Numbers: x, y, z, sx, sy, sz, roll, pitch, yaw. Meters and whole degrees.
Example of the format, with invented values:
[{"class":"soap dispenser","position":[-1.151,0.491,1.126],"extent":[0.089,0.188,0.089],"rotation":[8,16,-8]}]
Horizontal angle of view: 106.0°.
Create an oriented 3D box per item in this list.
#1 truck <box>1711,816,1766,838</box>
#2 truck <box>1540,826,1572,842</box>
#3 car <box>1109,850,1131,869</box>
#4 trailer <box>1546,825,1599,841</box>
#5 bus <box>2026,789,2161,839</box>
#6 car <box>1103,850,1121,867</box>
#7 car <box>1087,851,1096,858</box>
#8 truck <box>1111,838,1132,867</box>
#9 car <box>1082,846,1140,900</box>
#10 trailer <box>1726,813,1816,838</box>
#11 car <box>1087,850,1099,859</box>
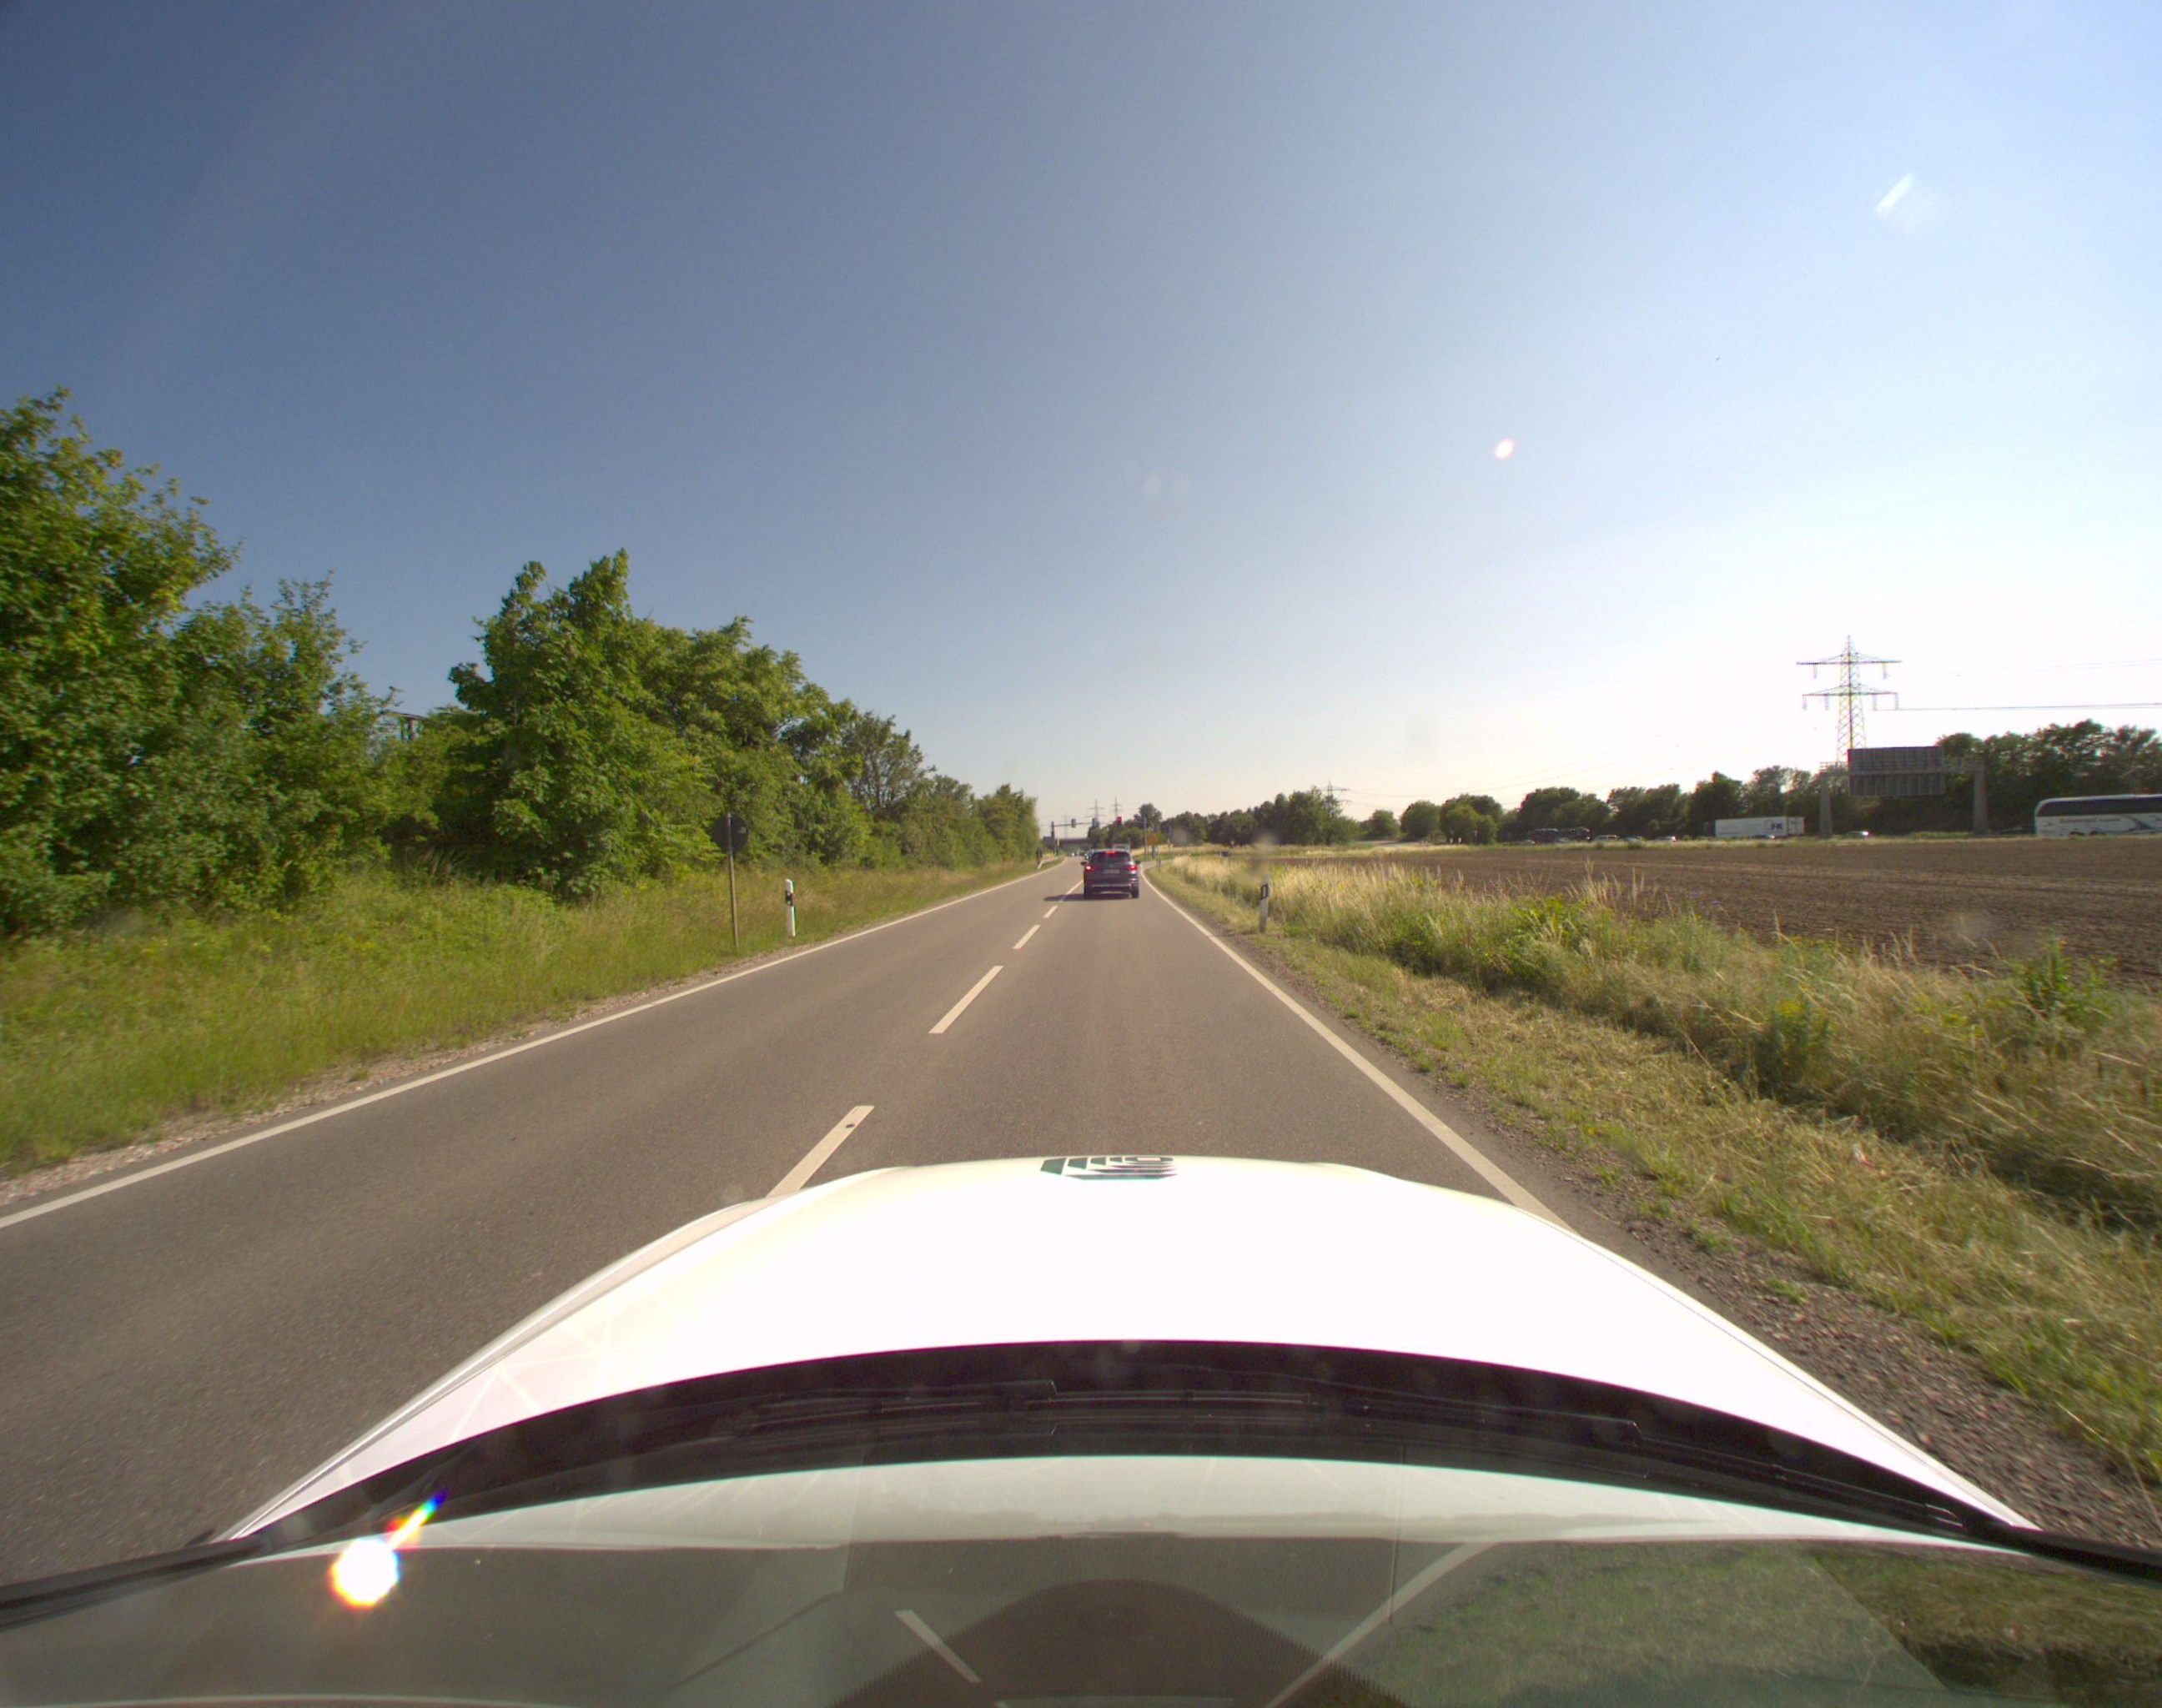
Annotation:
[{"class":"truck","position":[105.152,-4.303,130.403],"extent":[3.273,3.267,6.980],"rotation":[-2,0,1]},{"class":"truck","position":[104.919,-4.449,180.054],"extent":[3.273,3.267,6.430],"rotation":[-2,1,1]},{"class":"car","position":[3.329,0.423,69.432],"extent":[1.779,1.543,4.002],"rotation":[-1,0,2]},{"class":"trailer","position":[104.851,-4.378,173.988],"extent":[3.273,3.267,13.456],"rotation":[-2,1,1]},{"class":"bus","position":[85.614,-3.192,65.459],"extent":[2.455,3.803,14.546],"rotation":[-2,1,0]},{"class":"car","position":[3.183,0.429,84.048],"extent":[1.779,1.675,4.002],"rotation":[-1,0,2]},{"class":"car","position":[2.064,0.077,158.208],"extent":[1.679,1.380,3.531],"rotation":[-1,1,-1]},{"class":"truck","position":[4.610,-0.159,92.209],"extent":[2.328,3.066,5.814],"rotation":[-1,0,3]},{"class":"car","position":[1.006,0.567,27.395],"extent":[1.779,1.629,4.002],"rotation":[-1,0,2]},{"class":"trailer","position":[105.049,-4.299,124.419],"extent":[3.273,3.267,12.458],"rotation":[-2,0,1]},{"class":"car","position":[2.070,0.052,137.729],"extent":[1.811,1.540,3.997],"rotation":[-2,0,-2]}]
